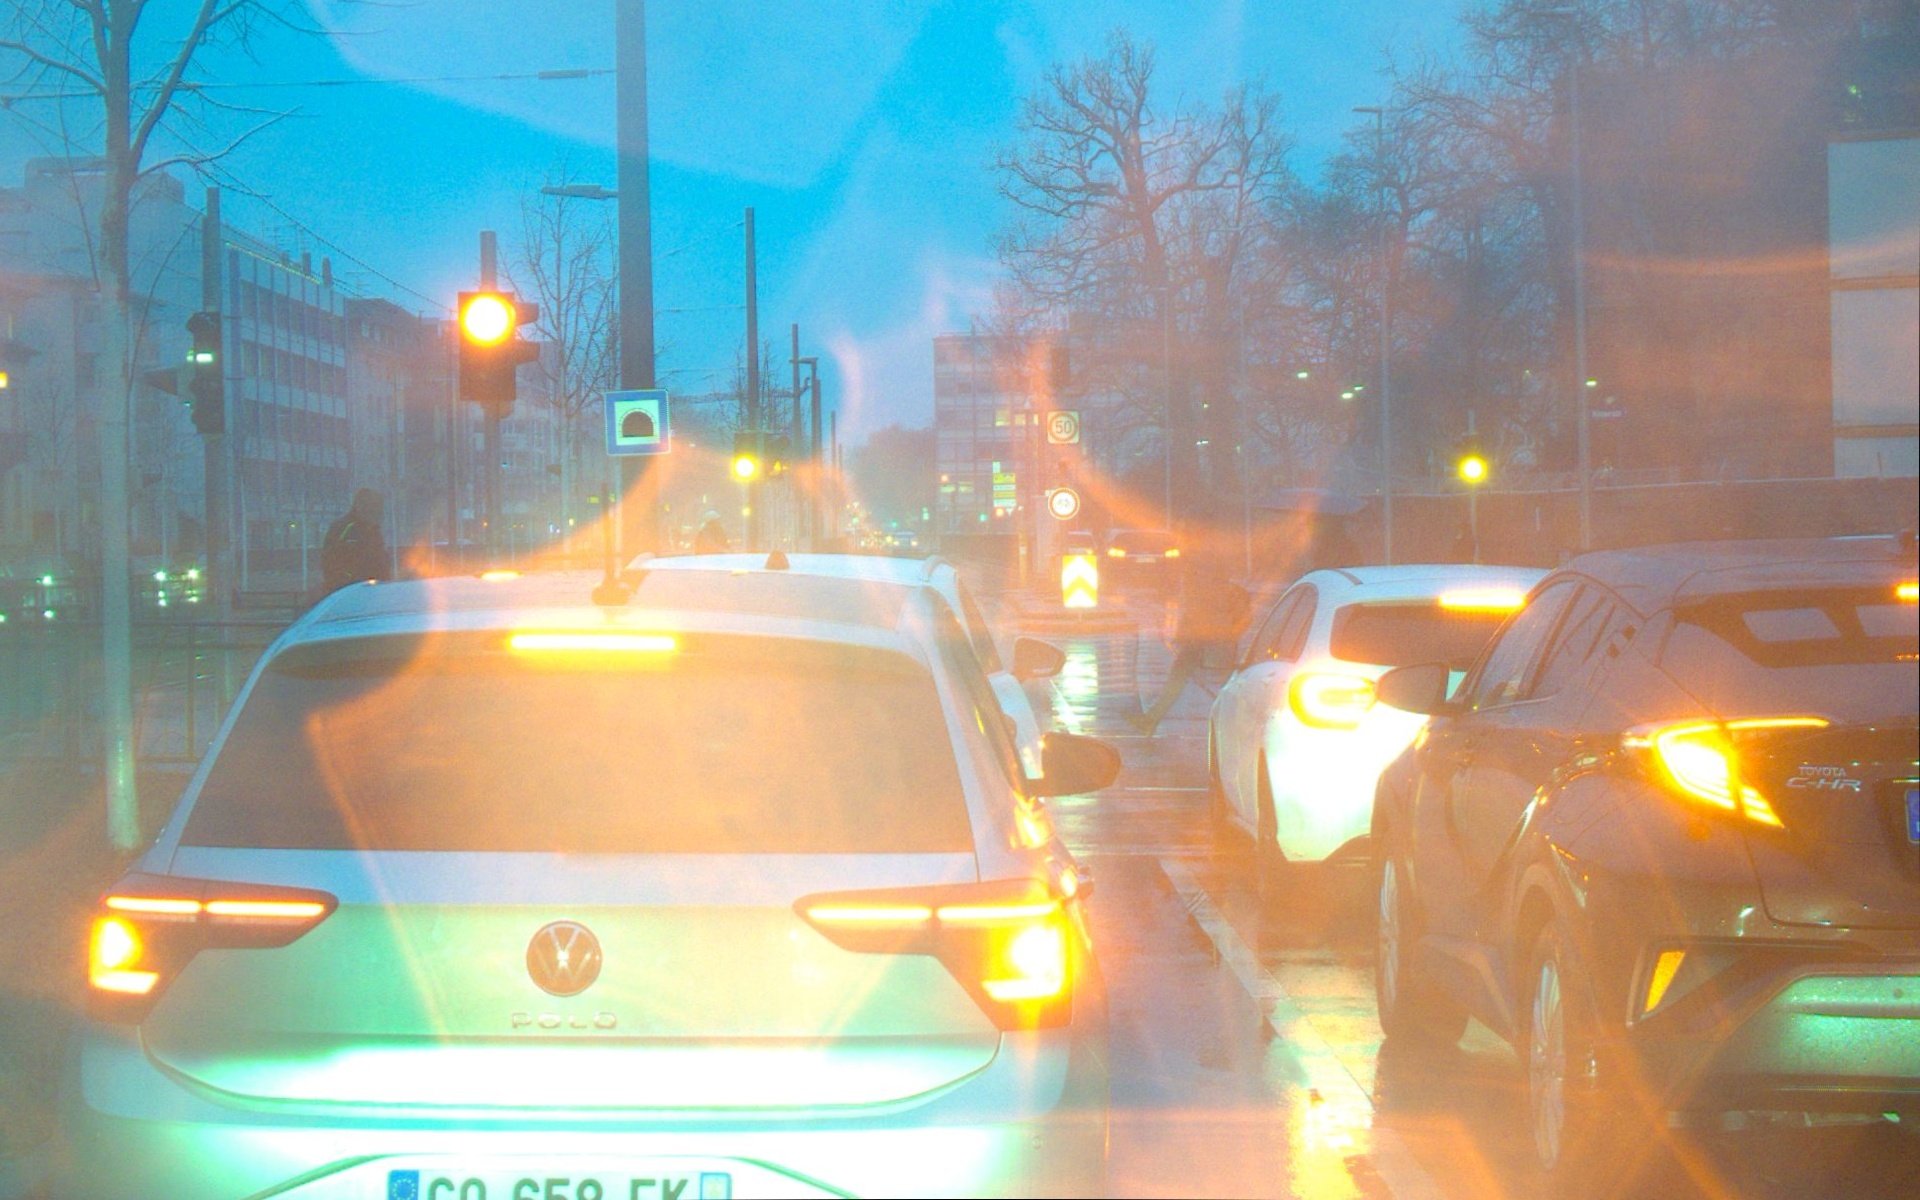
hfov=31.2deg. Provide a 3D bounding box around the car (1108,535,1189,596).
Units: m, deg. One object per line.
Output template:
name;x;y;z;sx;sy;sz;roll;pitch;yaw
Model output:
car;4.616;-0.868;84.578;1.737;1.415;3.703;-1;1;0

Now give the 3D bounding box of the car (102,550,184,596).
car;-29.204;-0.969;123.016;1.950;1.597;4.000;1;1;0

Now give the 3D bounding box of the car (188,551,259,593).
car;-29.083;-1.114;135.846;1.950;1.597;4.000;1;1;0

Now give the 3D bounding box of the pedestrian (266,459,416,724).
pedestrian;-4.823;-0.077;26.752;1.004;2.007;0.962;-1;1;-17

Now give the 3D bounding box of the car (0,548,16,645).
car;-16.672;-0.059;55.196;1.993;1.597;4.000;1;1;-1

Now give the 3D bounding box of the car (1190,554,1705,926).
car;2.037;0.524;15.356;1.745;1.428;3.731;1;1;0

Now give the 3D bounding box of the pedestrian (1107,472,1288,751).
pedestrian;1.756;0.070;25.505;0.958;2.007;1.008;-1;1;-23

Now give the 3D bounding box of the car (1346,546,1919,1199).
car;2.112;0.631;8.673;1.800;1.505;3.895;-1;1;0

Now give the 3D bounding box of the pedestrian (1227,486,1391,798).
pedestrian;2.301;0.263;22.763;0.959;2.007;1.008;-1;1;0

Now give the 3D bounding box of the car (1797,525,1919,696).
car;12.009;0.135;40.025;4.275;1.937;1.998;1;1;17

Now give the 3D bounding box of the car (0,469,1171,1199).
car;-0.685;0.537;6.878;1.693;1.528;4.001;0;1;-4

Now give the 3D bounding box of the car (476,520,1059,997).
car;-0.616;0.443;13.057;1.799;1.461;4.586;-1;1;0

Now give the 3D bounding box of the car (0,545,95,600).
car;-27.816;-0.851;104.701;1.950;1.597;4.000;1;1;0

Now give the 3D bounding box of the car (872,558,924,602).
car;-2.157;-0.714;120.578;1.737;1.415;4.394;-1;1;0
